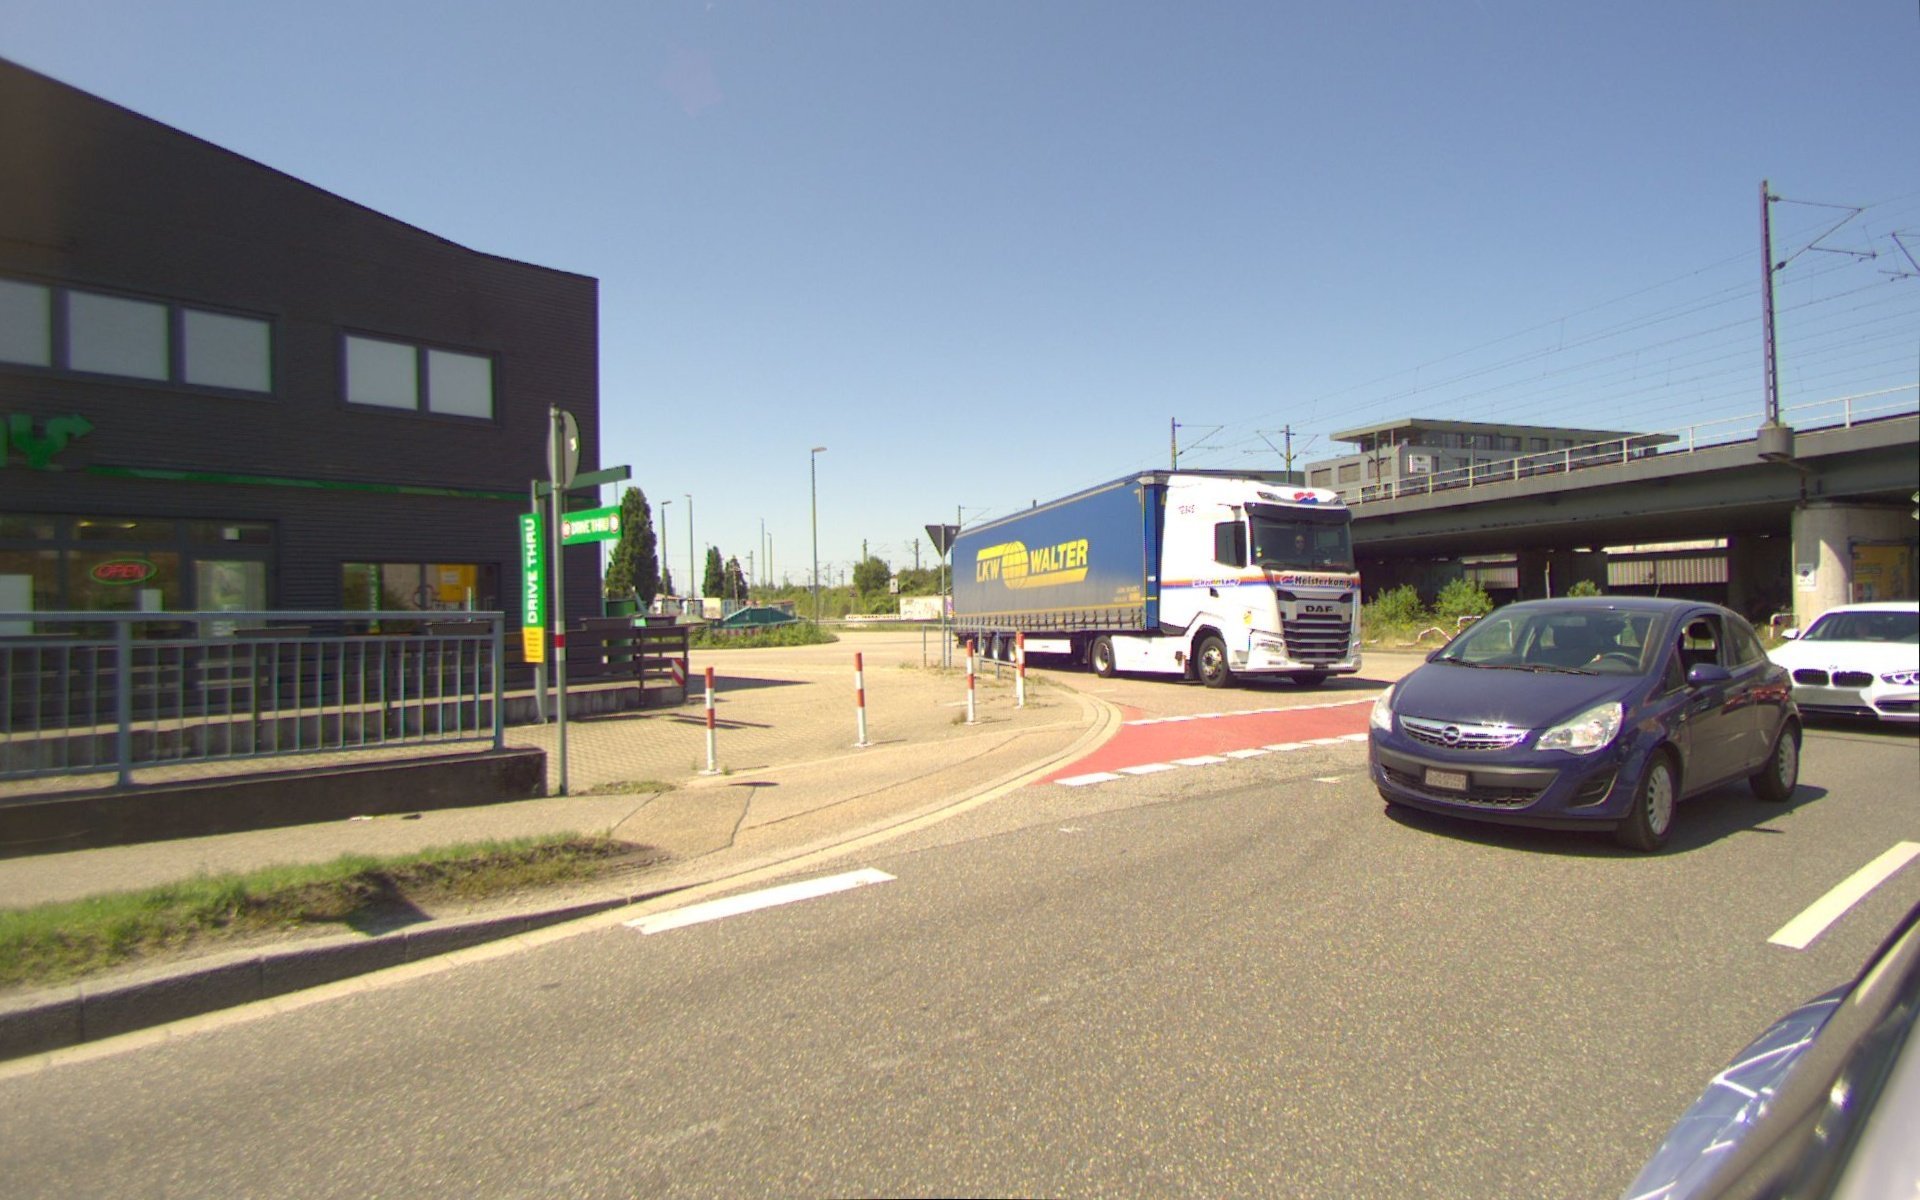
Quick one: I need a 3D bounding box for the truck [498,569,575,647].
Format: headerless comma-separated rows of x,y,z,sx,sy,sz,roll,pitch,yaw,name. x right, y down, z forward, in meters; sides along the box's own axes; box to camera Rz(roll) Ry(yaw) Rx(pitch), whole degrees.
-20.375,0.350,48.452,2.667,3.424,7.411,0,0,-28,truck

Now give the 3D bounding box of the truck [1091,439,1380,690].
5.089,-0.621,19.876,2.522,4.153,5.774,0,0,-21,truck

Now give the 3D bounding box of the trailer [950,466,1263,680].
2.870,-0.460,26.642,2.447,4.142,13.932,0,-1,-17,trailer

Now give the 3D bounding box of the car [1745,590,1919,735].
11.225,0.642,12.074,3.974,1.461,1.765,0,2,-34,car

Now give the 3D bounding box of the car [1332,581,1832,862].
4.456,0.645,7.074,3.817,1.462,1.651,0,0,-36,car

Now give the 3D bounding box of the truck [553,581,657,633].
-24.525,0.417,70.419,2.767,3.411,7.509,0,0,19,truck
